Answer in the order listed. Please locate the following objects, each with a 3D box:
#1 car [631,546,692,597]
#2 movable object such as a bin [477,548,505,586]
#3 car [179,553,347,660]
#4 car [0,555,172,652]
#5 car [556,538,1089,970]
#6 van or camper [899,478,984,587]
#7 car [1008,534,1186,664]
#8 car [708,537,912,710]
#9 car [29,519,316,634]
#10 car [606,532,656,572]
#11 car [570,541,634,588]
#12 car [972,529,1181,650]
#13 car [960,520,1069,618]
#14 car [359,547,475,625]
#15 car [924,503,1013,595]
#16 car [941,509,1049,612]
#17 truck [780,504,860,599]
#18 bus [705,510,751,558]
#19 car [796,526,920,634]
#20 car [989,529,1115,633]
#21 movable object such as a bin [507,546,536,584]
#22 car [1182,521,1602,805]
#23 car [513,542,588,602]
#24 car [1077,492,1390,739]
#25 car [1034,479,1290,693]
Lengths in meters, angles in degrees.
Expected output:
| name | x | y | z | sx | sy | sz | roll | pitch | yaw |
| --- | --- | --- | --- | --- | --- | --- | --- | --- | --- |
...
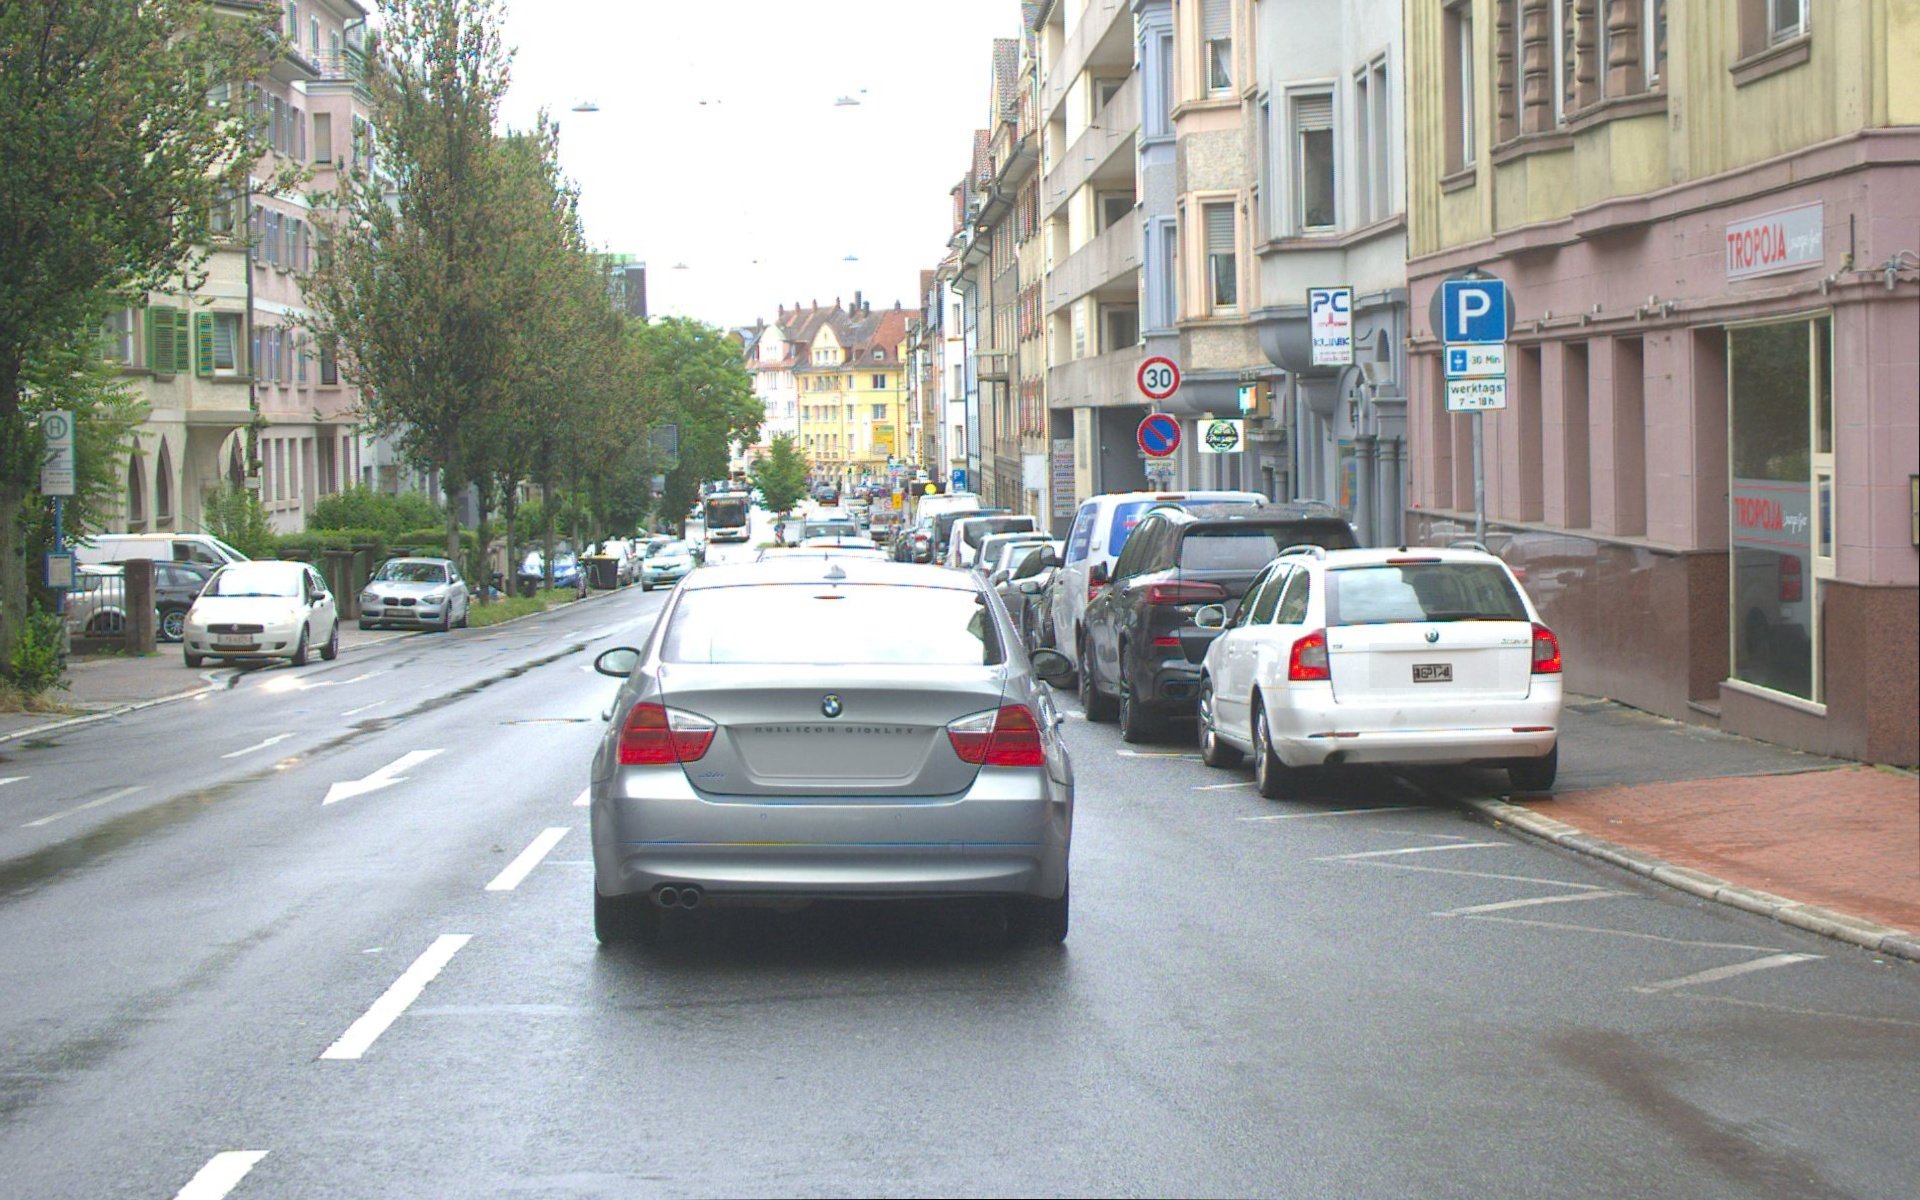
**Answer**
| name | x | y | z | sx | sy | sz | roll | pitch | yaw |
| --- | --- | --- | --- | --- | --- | --- | --- | --- | --- |
| car | -9.504 | -0.907 | 109.631 | 1.636 | 1.503 | 3.755 | -4 | 1 | -2 |
| movable object such as a bin | -11.583 | -0.822 | 84.838 | 0.574 | 0.909 | 0.640 | -2 | 1 | -16 |
| car | -9.927 | 0.060 | 49.216 | 1.621 | 1.441 | 4.005 | -1 | 1 | -1 |
| car | -14.743 | 0.069 | 55.301 | 3.880 | 1.452 | 1.792 | -2 | 1 | -9 |
| car | -0.515 | 0.486 | 13.409 | 1.769 | 1.423 | 3.741 | 1 | 1 | -2 |
| van or camper | -0.463 | -1.877 | 96.223 | 2.033 | 2.859 | 6.885 | 2 | 1 | 2 |
| car | 1.490 | -0.039 | 38.686 | 1.677 | 1.370 | 4.276 | 0 | 1 | -2 |
| car | -1.275 | 0.179 | 30.464 | 1.681 | 1.423 | 3.741 | 1 | 1 | -1 |
| car | -14.519 | -0.446 | 63.595 | 4.828 | 1.967 | 2.048 | -2 | 1 | -2 |
| car | -13.319 | -1.953 | 139.320 | 1.690 | 1.518 | 3.737 | -3 | 1 | -1 |
| car | -12.377 | -1.253 | 119.009 | 1.827 | 1.518 | 3.737 | -3 | 1 | -1 |
| car | 1.430 | -0.151 | 44.191 | 1.875 | 1.462 | 4.776 | 0 | 1 | -8 |
| car | 0.983 | -0.584 | 63.769 | 1.726 | 1.664 | 4.289 | -3 | 1 | -2 |
| car | -10.825 | -0.281 | 68.781 | 1.726 | 1.478 | 3.989 | 1 | 0 | -1 |
| car | 0.181 | -1.274 | 85.729 | 1.981 | 2.158 | 4.750 | -2 | 1 | -2 |
| car | 0.689 | -0.818 | 71.039 | 1.981 | 2.000 | 4.625 | -2 | 1 | -2 |
| truck | -3.690 | -1.259 | 90.294 | 2.031 | 2.404 | 4.827 | 1 | 0 | -3 |
| bus | -15.240 | -4.347 | 226.556 | 2.668 | 3.014 | 7.671 | -2 | 1 | -2 |
| car | -1.498 | -0.285 | 49.540 | 1.697 | 1.478 | 3.794 | 1 | 0 | -3 |
| car | 1.321 | -0.299 | 50.867 | 1.611 | 1.469 | 4.016 | 0 | 1 | -2 |
| movable object such as a bin | -10.842 | -0.862 | 85.011 | 0.574 | 0.909 | 0.640 | -2 | 1 | -16 |
| car | 2.548 | 0.320 | 21.362 | 1.798 | 1.559 | 4.493 | 1 | 1 | -3 |
| car | -11.515 | -0.799 | 96.939 | 1.766 | 1.588 | 4.001 | -3 | 1 | -3 |
| car | 2.020 | 0.079 | 26.715 | 1.878 | 1.725 | 4.677 | 1 | 1 | -2 |
| car | 1.835 | -0.161 | 32.717 | 1.919 | 1.821 | 5.010 | -2 | 1 | -2 |
